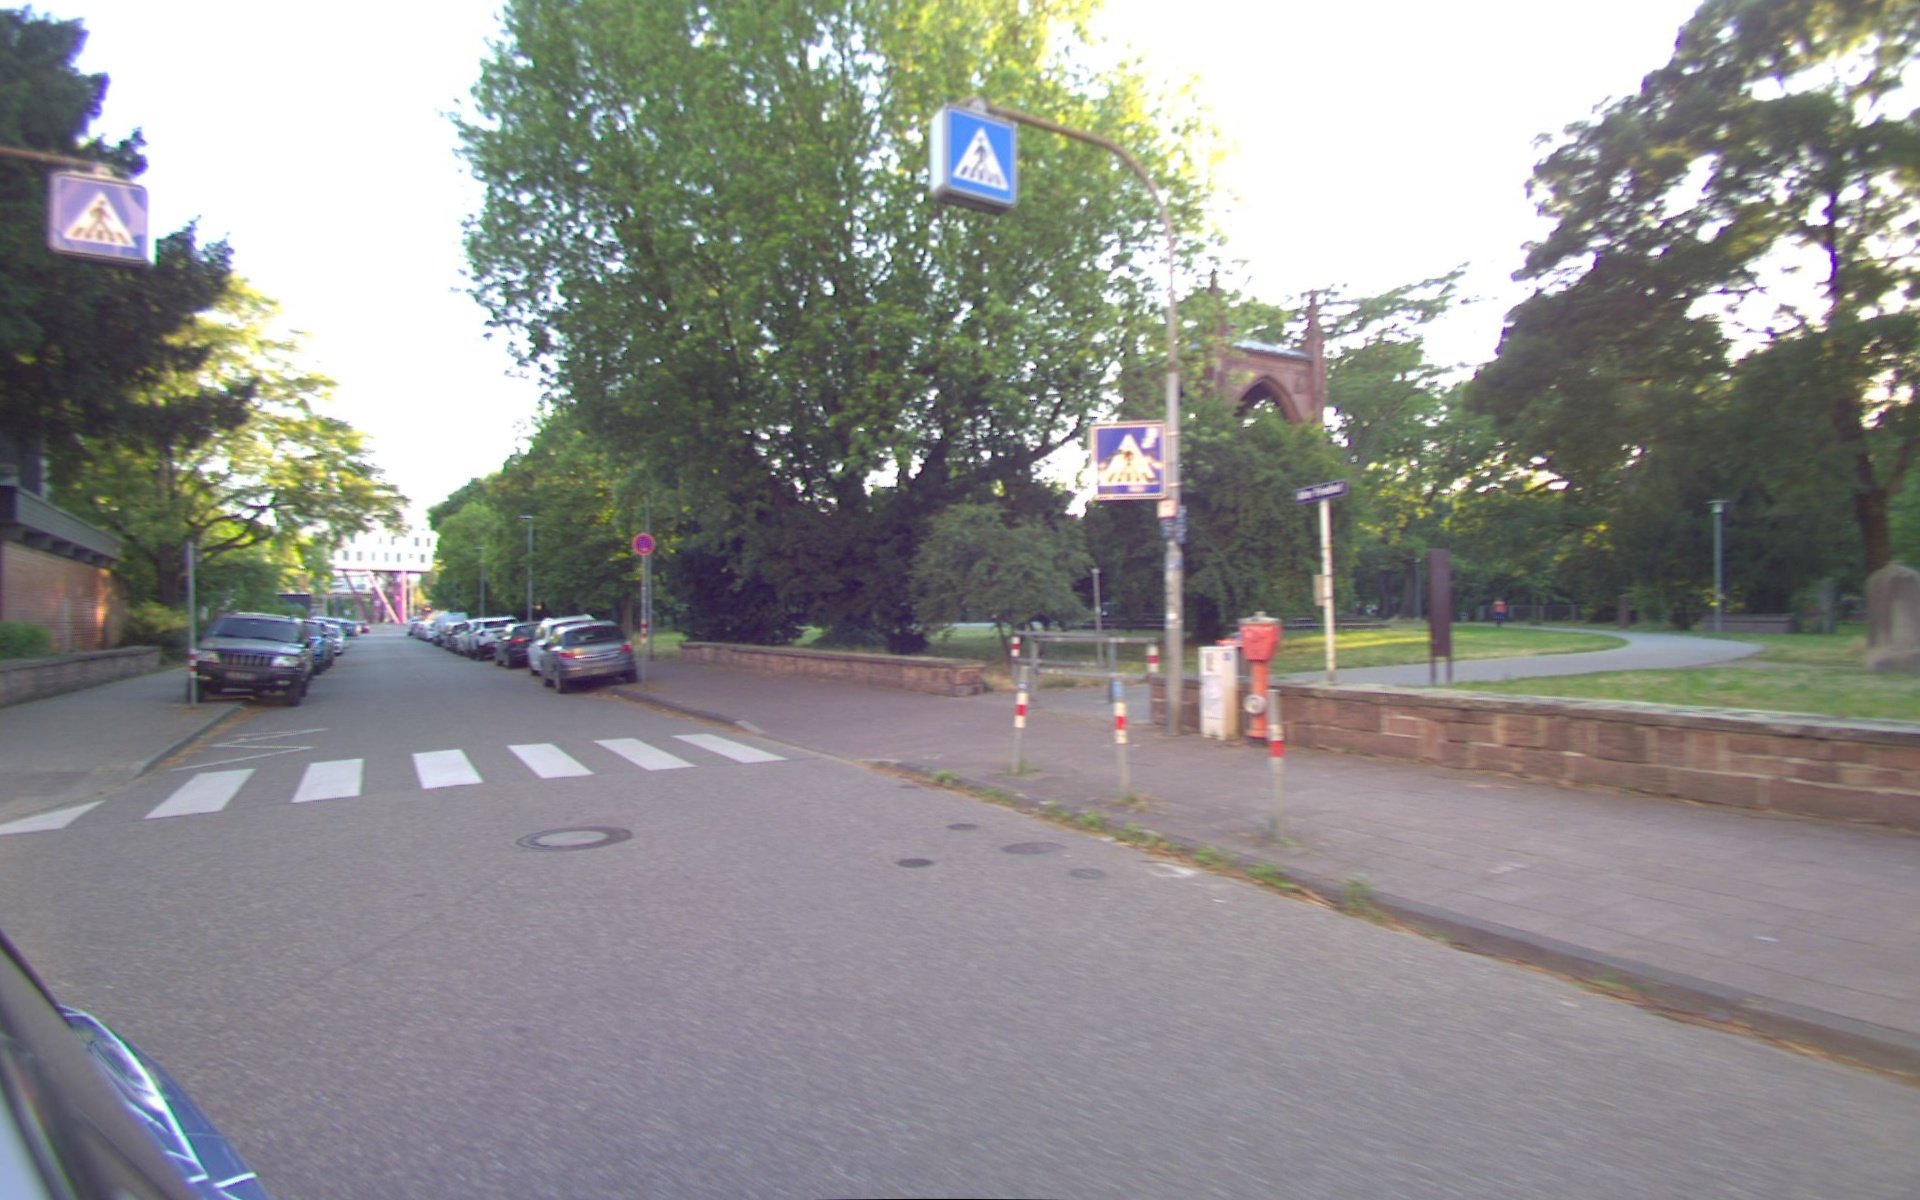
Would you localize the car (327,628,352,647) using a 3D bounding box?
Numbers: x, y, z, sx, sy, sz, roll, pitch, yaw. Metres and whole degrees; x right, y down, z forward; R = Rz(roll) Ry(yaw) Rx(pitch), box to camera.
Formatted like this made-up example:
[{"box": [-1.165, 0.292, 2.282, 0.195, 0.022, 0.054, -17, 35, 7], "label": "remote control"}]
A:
[{"box": [-59.654, 3.555, 97.287, 1.966, 1.763, 4.011, -1, -1, -33], "label": "car"}]

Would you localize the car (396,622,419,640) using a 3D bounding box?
[{"box": [-59.846, 3.339, 109.584, 1.758, 1.796, 4.023, -6, 1, -33], "label": "car"}]

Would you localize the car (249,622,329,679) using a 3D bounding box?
[{"box": [-19.863, 1.487, 30.045, 1.757, 1.511, 3.895, 5, -4, -33], "label": "car"}]

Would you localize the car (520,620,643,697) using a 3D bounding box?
[{"box": [-8.770, 1.286, 23.268, 1.758, 1.461, 3.895, -6, 1, -33], "label": "car"}]

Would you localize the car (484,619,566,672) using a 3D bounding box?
[{"box": [-14.449, 1.478, 33.516, 1.758, 1.487, 3.895, -6, 1, -33], "label": "car"}]

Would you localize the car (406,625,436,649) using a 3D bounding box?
[{"box": [-45.848, 3.128, 86.049, 1.758, 1.808, 3.895, -6, 1, -33], "label": "car"}]

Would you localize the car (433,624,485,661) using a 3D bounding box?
[{"box": [-24.765, 2.065, 49.963, 1.758, 1.583, 3.895, -6, 1, -33], "label": "car"}]

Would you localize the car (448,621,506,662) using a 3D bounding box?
[{"box": [-21.836, 1.857, 45.723, 1.758, 1.583, 3.895, -6, 1, -33], "label": "car"}]

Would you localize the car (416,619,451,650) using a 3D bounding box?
[{"box": [-37.874, 2.482, 72.759, 1.758, 2.051, 3.895, -6, 1, -33], "label": "car"}]

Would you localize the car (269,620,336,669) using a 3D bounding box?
[{"box": [-22.572, 1.526, 34.781, 1.757, 1.511, 3.895, 5, -4, -33], "label": "car"}]

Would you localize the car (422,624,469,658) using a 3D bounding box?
[{"box": [-27.823, 2.193, 54.684, 1.758, 1.583, 3.895, -6, 1, -33], "label": "car"}]

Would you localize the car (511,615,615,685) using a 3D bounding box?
[{"box": [-10.846, 1.314, 27.488, 1.758, 1.589, 3.895, -6, 1, -33], "label": "car"}]

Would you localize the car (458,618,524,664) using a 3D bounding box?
[{"box": [-18.872, 1.615, 40.664, 1.758, 1.583, 3.895, -6, 1, -33], "label": "car"}]

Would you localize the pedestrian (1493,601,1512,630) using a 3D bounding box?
[{"box": [31.283, 0.903, 58.329, 0.657, 1.681, 0.668, 0, -1, -11], "label": "pedestrian"}]

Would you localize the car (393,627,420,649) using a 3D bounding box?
[{"box": [-51.657, 3.555, 94.370, 1.758, 1.796, 4.023, -6, 1, -33], "label": "car"}]

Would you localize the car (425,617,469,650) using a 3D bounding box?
[{"box": [-32.237, 2.093, 63.540, 1.933, 1.850, 3.895, -6, 1, -33], "label": "car"}]

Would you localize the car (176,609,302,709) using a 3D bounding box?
[{"box": [-14.025, 1.129, 19.869, 1.757, 1.767, 3.895, 3, -3, -33], "label": "car"}]
